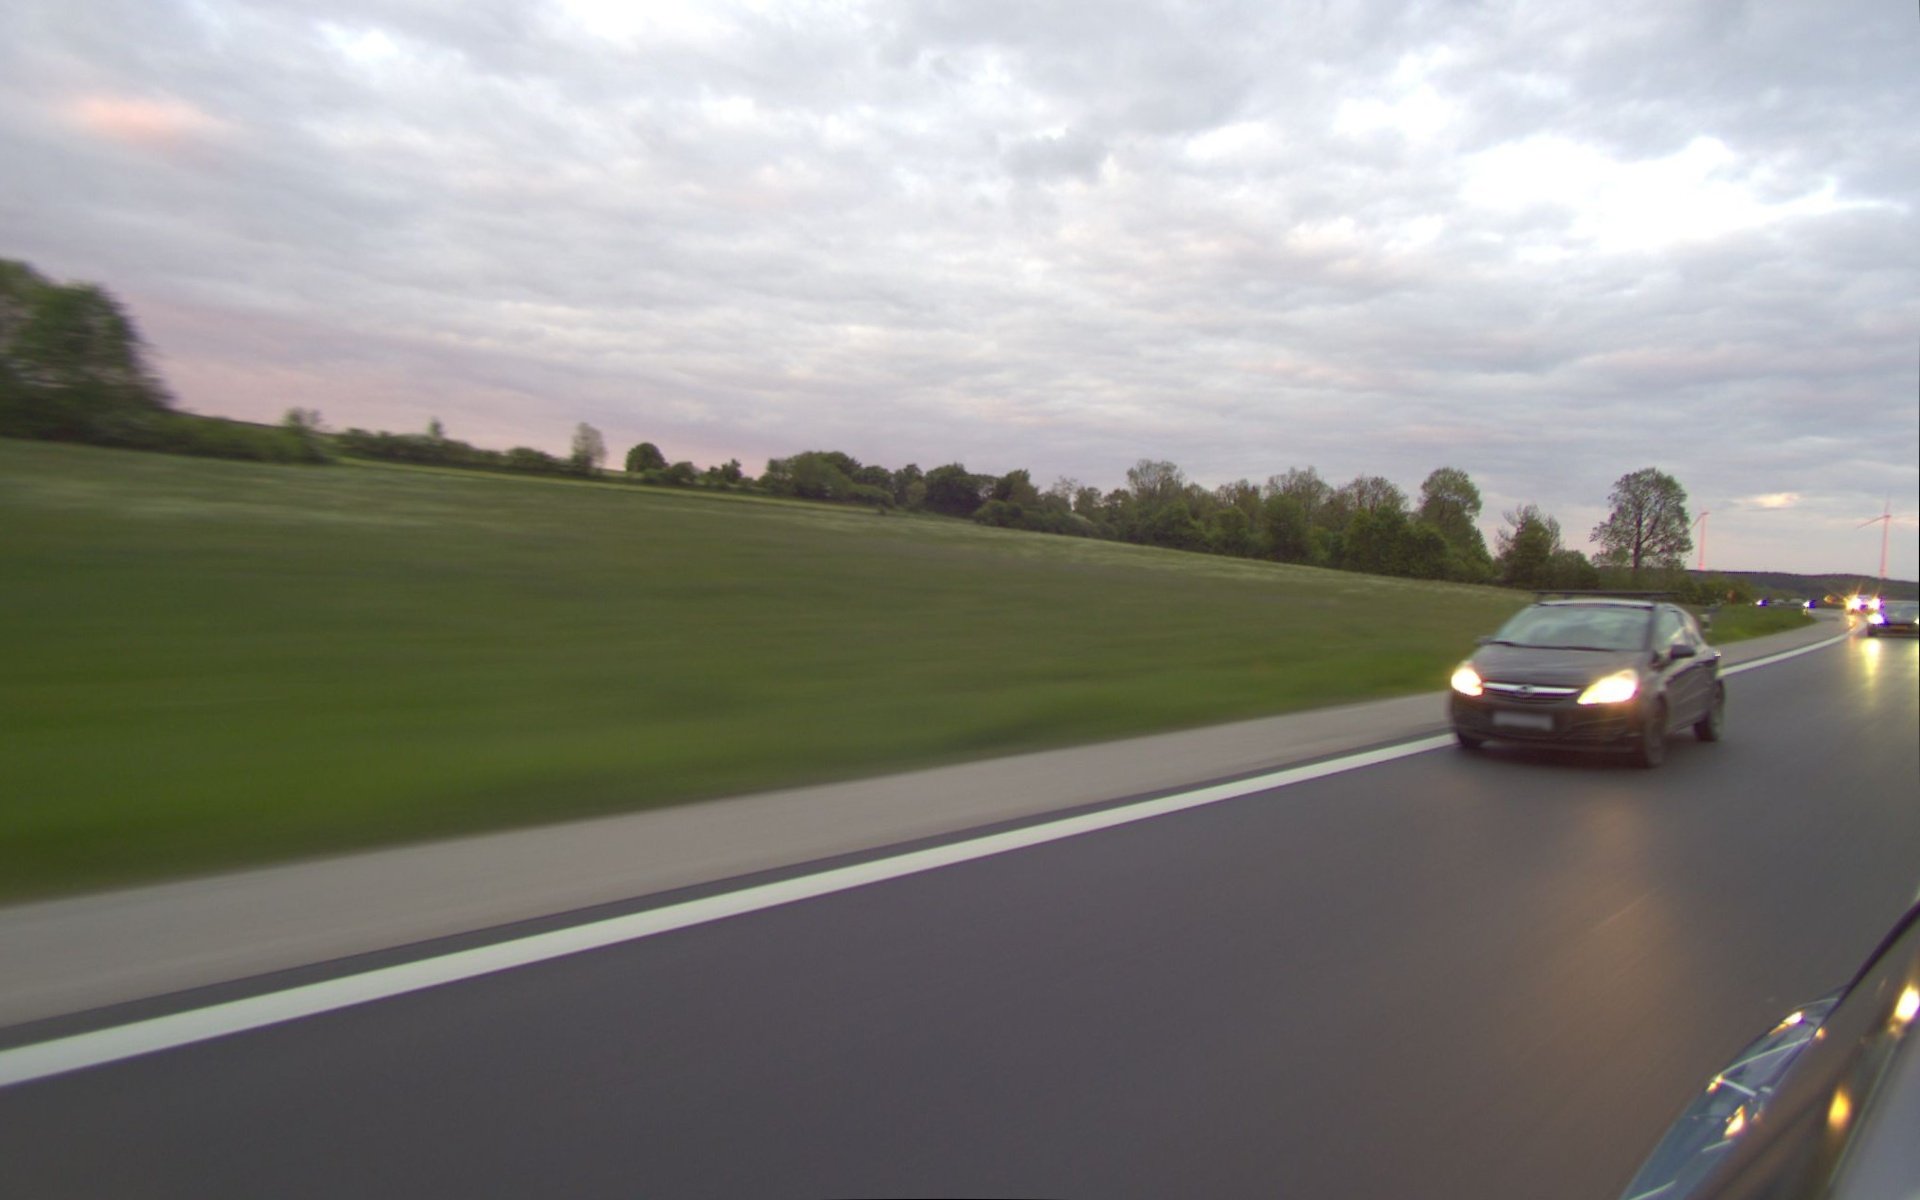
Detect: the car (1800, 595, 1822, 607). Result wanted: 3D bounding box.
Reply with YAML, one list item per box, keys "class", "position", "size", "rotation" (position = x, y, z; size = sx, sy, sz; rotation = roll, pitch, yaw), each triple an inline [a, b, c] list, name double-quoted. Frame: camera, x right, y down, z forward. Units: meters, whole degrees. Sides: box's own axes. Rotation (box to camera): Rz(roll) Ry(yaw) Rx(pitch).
- class: "car"
  position: [128.760, 0.154, 153.202]
  size: [1.788, 1.665, 4.053]
  rotation: [1, 2, 29]

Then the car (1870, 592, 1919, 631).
- class: "car"
  position: [37.337, 0.427, 39.821]
  size: [3.932, 1.413, 1.883]
  rotation: [0, 3, -42]

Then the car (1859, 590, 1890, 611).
- class: "car"
  position: [89.367, 0.028, 98.964]
  size: [1.911, 1.860, 3.945]
  rotation: [3, 2, 38]

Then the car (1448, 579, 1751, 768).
- class: "car"
  position: [6.565, 0.575, 10.212]
  size: [3.933, 1.532, 1.679]
  rotation: [0, 1, -43]
